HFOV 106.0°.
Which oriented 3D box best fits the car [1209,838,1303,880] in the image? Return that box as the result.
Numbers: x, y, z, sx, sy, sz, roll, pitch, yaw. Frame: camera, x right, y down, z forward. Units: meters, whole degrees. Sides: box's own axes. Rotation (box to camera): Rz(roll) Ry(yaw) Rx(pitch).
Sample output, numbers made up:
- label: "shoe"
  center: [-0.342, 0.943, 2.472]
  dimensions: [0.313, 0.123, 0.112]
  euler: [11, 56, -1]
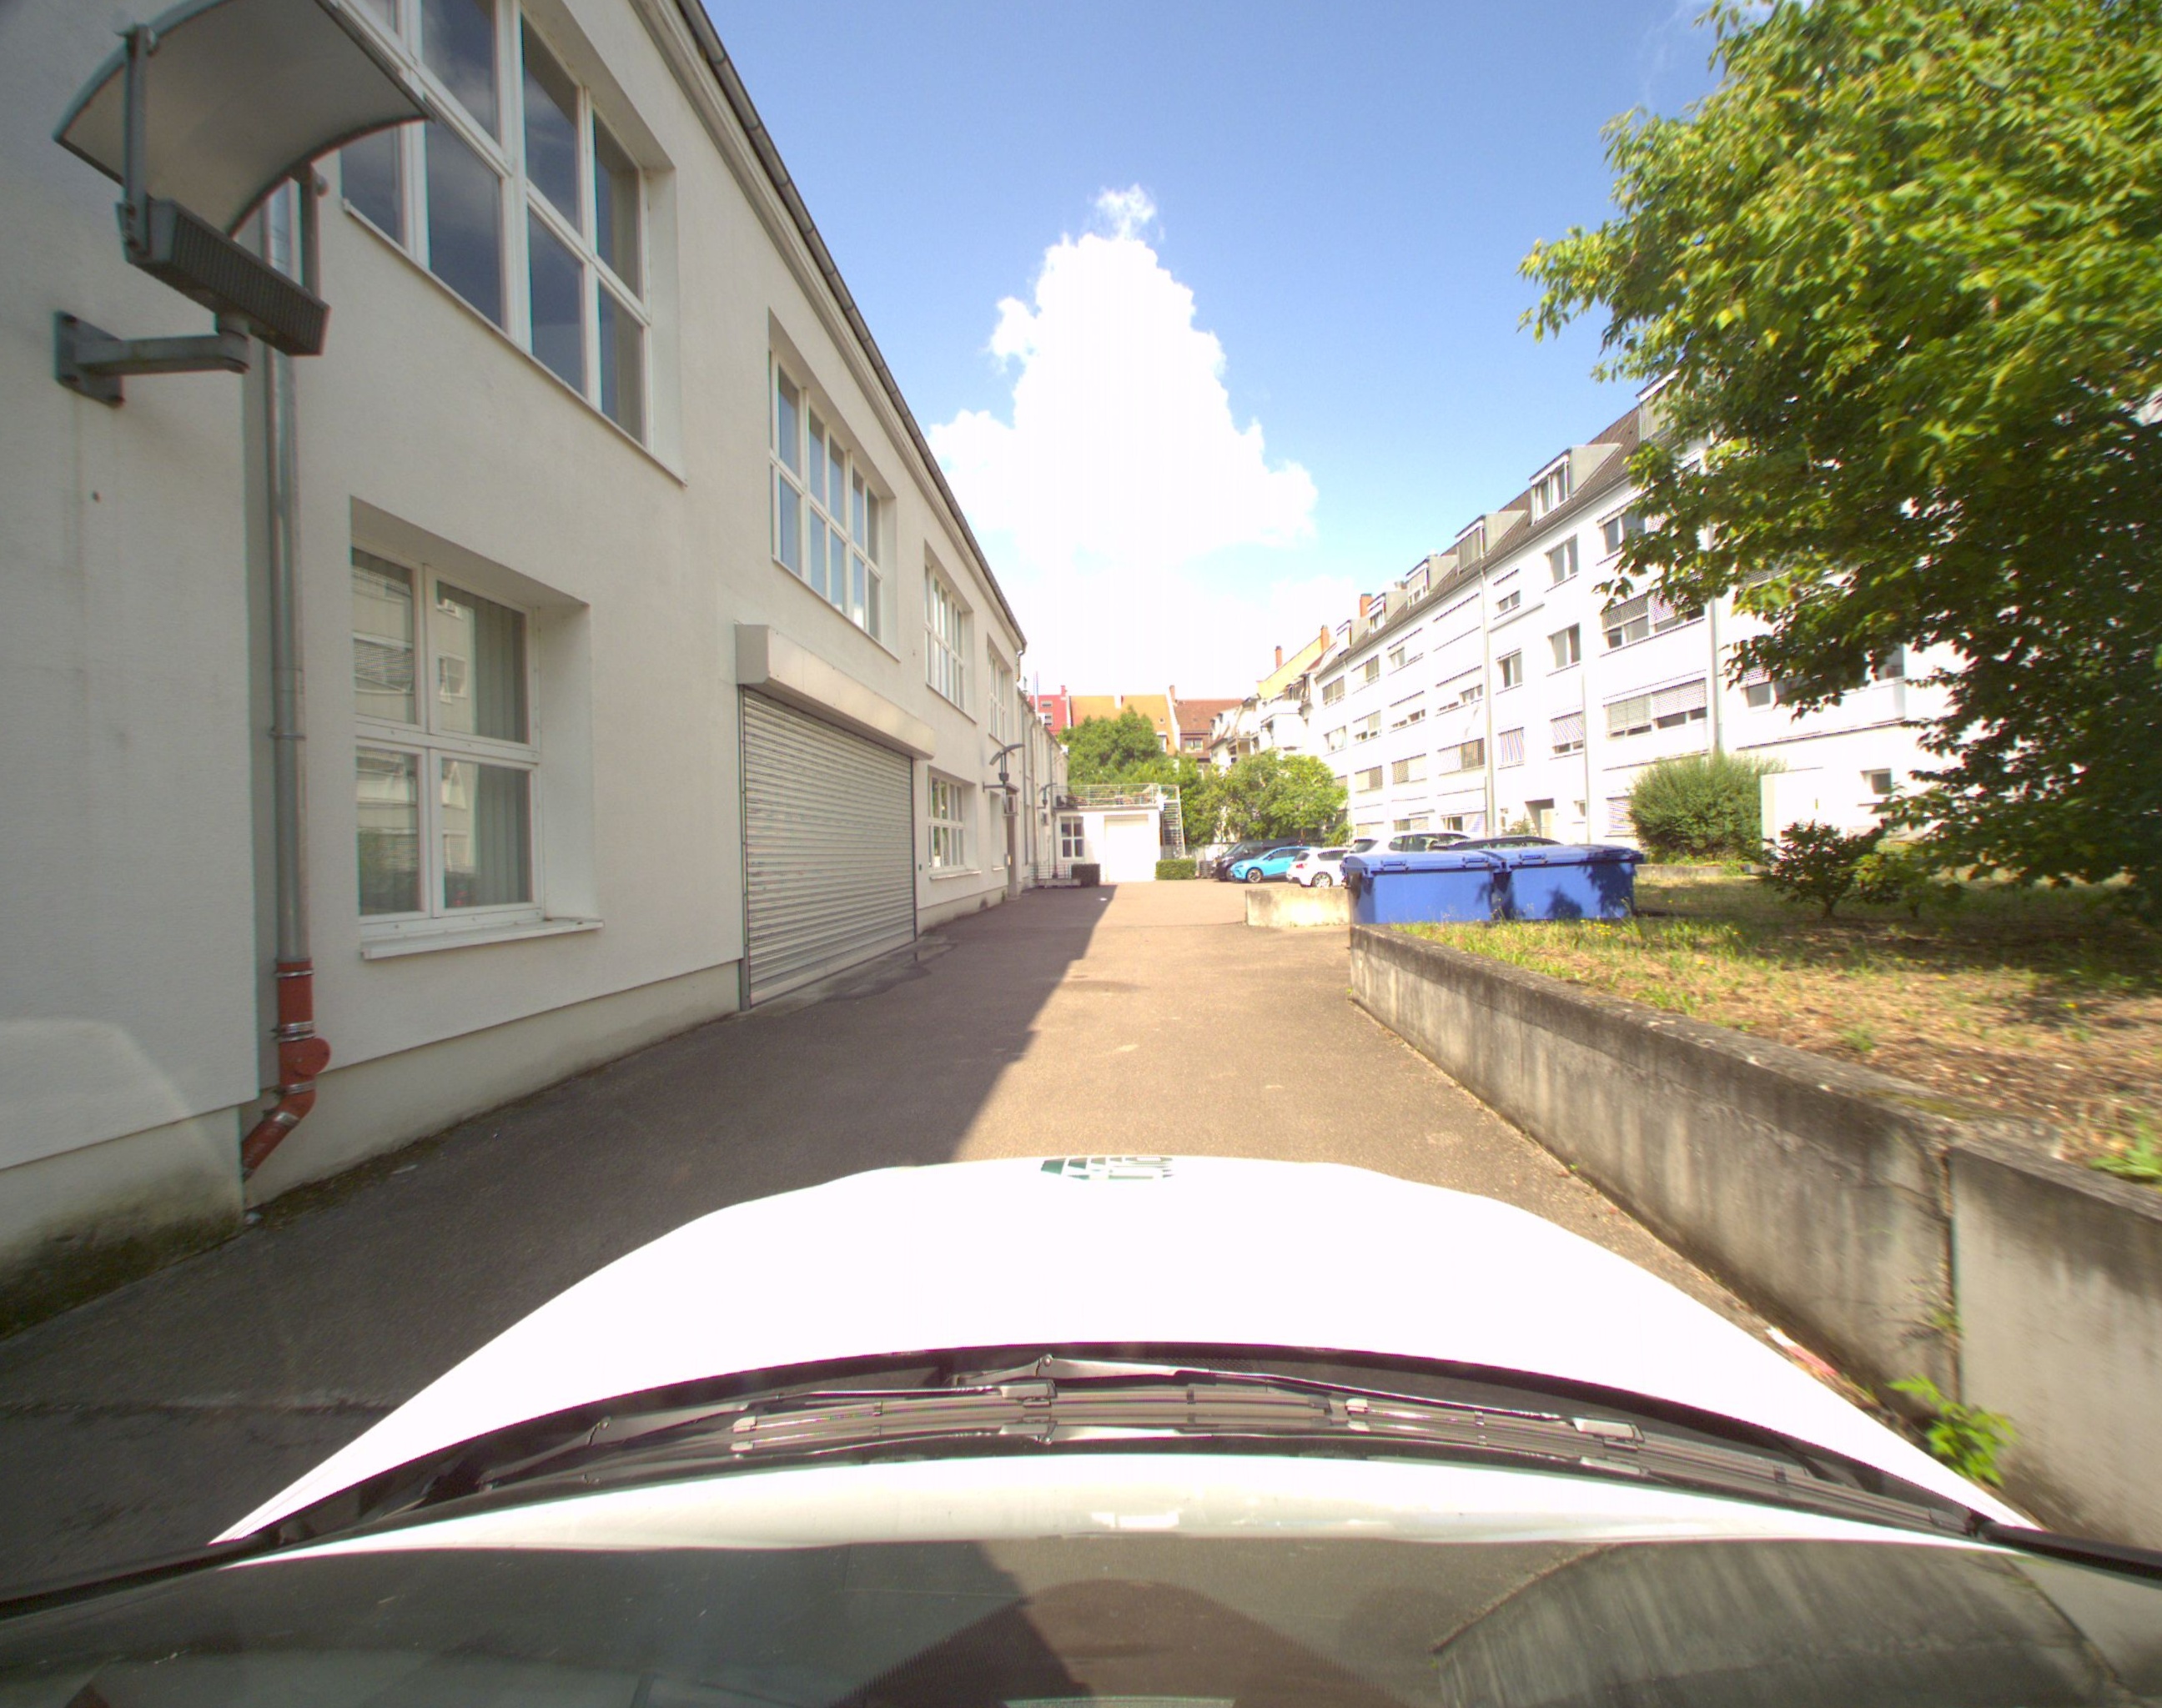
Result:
- label: "car"
  center: [8.085, 0.245, 37.901]
  dimensions: [3.977, 1.817, 1.662]
  euler: [1, 0, -2]

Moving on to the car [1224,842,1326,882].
- label: "car"
  center: [8.349, 0.318, 35.211]
  dimensions: [3.977, 1.573, 1.628]
  euler: [-1, 1, -2]

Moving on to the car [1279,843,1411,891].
- label: "car"
  center: [8.938, 0.410, 27.741]
  dimensions: [3.977, 1.444, 1.628]
  euler: [-2, 1, -2]

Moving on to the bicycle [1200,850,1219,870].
- label: "bicycle"
  center: [7.504, 0.351, 47.559]
  dimensions: [0.640, 1.117, 1.855]
  euler: [1, 0, -5]

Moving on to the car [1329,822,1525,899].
- label: "car"
  center: [8.376, 0.140, 19.957]
  dimensions: [3.977, 1.745, 1.948]
  euler: [-1, 0, -2]

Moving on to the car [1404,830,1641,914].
- label: "car"
  center: [9.250, 0.373, 17.260]
  dimensions: [4.102, 1.606, 1.754]
  euler: [1, 0, -2]
